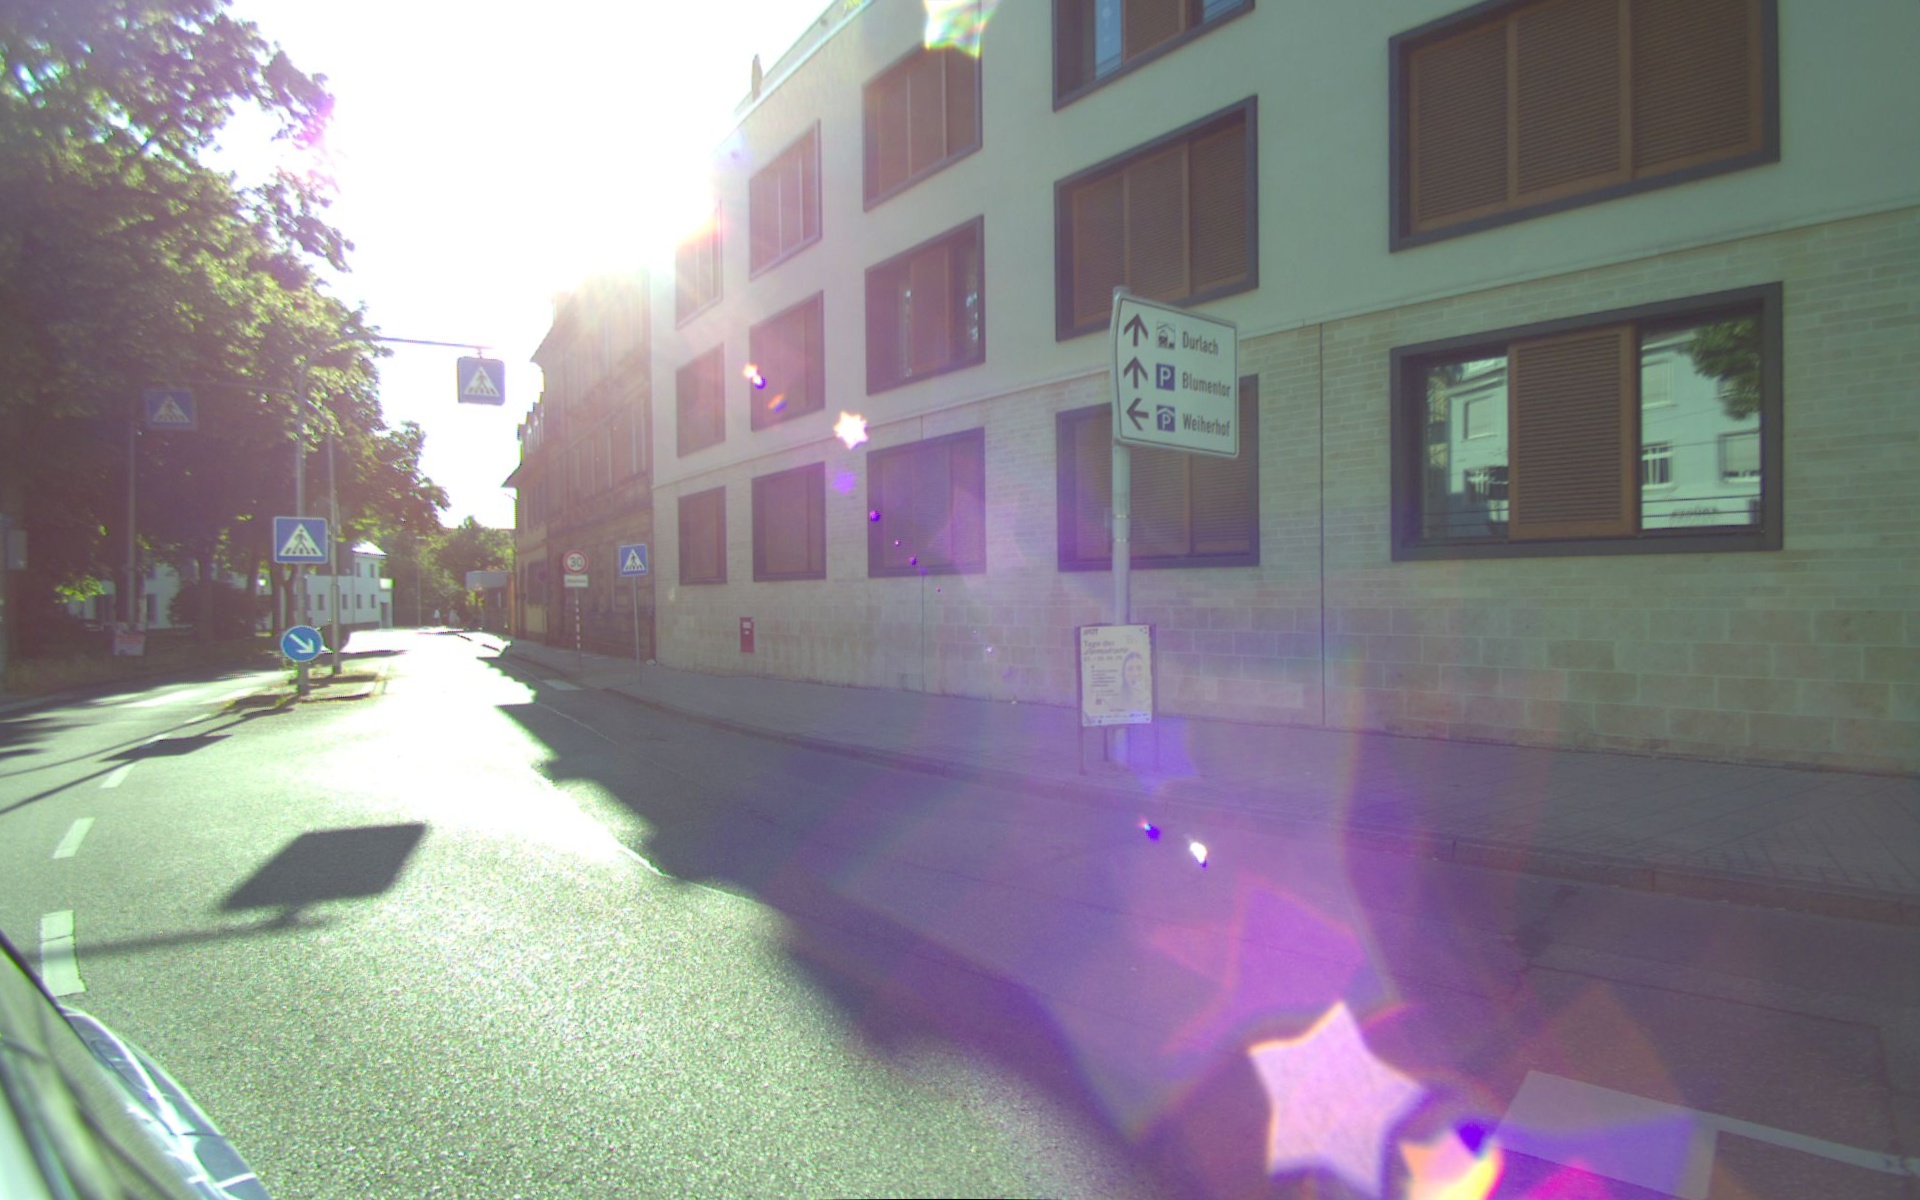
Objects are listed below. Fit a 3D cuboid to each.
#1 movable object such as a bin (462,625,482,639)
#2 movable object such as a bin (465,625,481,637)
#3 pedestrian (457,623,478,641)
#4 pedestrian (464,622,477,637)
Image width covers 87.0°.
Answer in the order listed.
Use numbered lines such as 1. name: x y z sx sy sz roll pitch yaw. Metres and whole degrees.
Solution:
1. movable object such as a bin: -37.054 2.421 76.872 1.025 0.935 0.839 -3 0 6
2. movable object such as a bin: -39.945 2.549 82.966 1.021 0.935 0.843 -3 1 -36
3. pedestrian: -37.452 2.438 76.919 1.144 1.238 0.839 -3 1 6
4. pedestrian: -40.092 2.425 82.874 0.731 1.194 0.843 -3 1 -36
